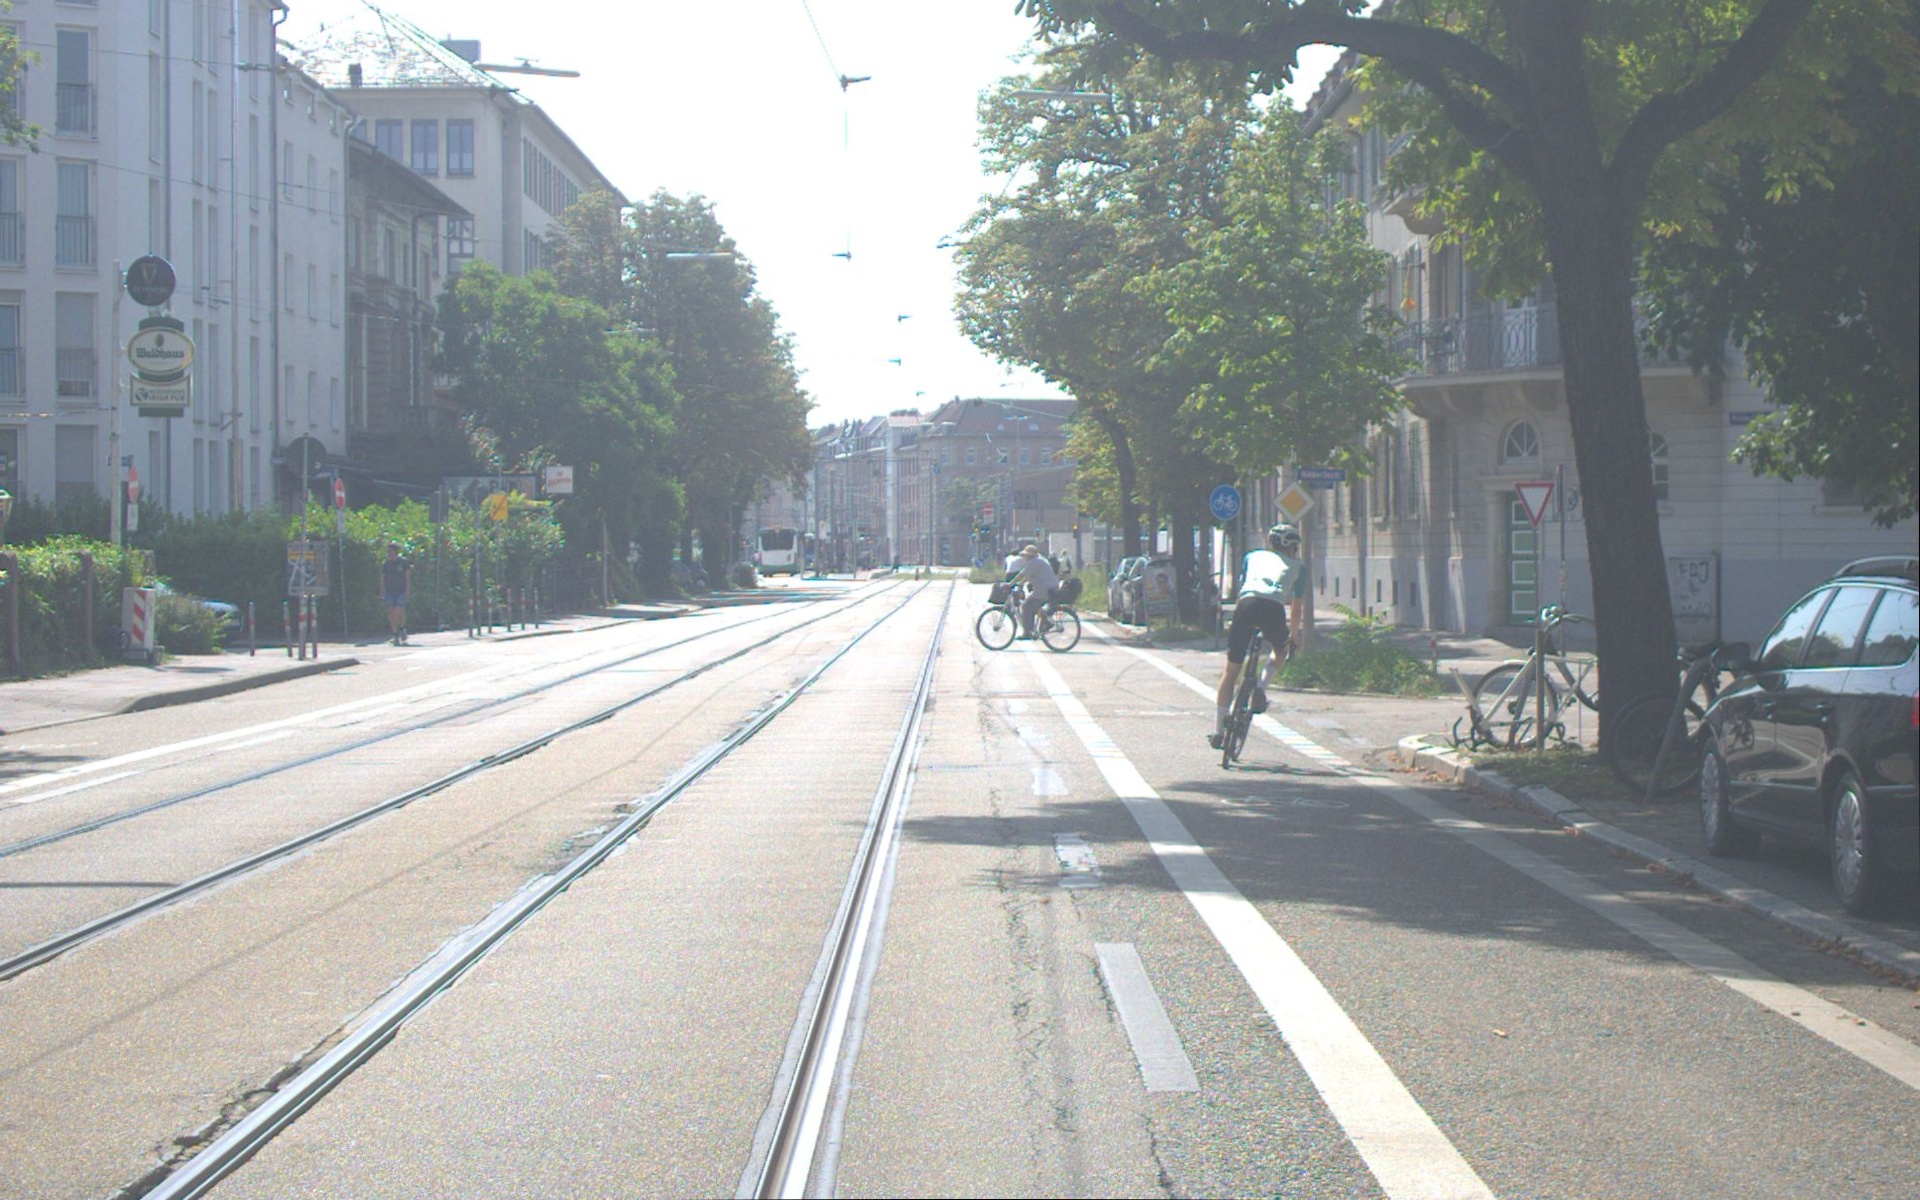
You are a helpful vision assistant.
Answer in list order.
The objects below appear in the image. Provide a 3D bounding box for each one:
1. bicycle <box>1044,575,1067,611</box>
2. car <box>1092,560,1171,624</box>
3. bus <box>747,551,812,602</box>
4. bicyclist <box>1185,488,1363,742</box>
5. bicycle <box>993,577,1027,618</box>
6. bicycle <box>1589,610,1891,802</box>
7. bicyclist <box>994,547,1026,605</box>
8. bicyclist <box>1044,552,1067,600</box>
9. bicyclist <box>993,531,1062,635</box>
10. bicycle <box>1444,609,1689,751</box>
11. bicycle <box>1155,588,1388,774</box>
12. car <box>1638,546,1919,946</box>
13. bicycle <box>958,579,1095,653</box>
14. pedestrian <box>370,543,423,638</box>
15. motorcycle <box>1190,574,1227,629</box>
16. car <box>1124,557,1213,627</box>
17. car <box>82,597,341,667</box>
[{"bbox_3d":[2.523,-0.183,90.661,0.588,0.936,2.171,0,0,2],"label":"bicycle"},{"bbox_3d":[4.053,-0.180,81.564,1.583,1.459,3.467,0,-1,-2],"label":"car"},{"bbox_3d":[-12.198,-1.575,233.342,3.735,3.352,15.119,0,0,0],"label":"bus"},{"bbox_3d":[2.326,0.106,25.398,1.126,1.830,0.955,0,0,17],"label":"bicyclist"},{"bbox_3d":[1.232,-0.072,84.079,0.759,0.987,2.298,0,0,2],"label":"bicycle"},{"bbox_3d":[4.648,0.630,20.541,1.723,1.133,0.377,0,0,7],"label":"bicycle"},{"bbox_3d":[1.231,-0.585,84.111,0.759,1.387,0.779,0,0,2],"label":"bicyclist"},{"bbox_3d":[2.512,-0.628,90.550,0.579,1.274,0.471,0,0,2],"label":"bicyclist"},{"bbox_3d":[1.070,-0.271,54.657,0.825,1.637,0.784,0,0,28],"label":"bicyclist"},{"bbox_3d":[4.479,0.585,25.445,1.713,1.028,0.566,0,0,1],"label":"bicycle"},{"bbox_3d":[2.343,0.564,25.438,1.149,1.265,2.710,0,1,18],"label":"bicycle"},{"bbox_3d":[4.501,0.517,15.585,1.840,1.527,4.780,-2,0,0],"label":"car"},{"bbox_3d":[1.055,0.246,54.668,2.038,1.147,0.784,0,0,28],"label":"bicycle"},{"bbox_3d":[-10.490,-0.173,64.070,0.779,1.750,1.040,-1,0,1],"label":"pedestrian"},{"bbox_3d":[4.867,0.030,67.423,0.549,1.064,2.330,0,0,0],"label":"motorcycle"},{"bbox_3d":[4.461,-0.154,73.853,1.583,1.459,3.415,0,-1,-2],"label":"car"},{"bbox_3d":[-13.780,0.589,63.288,4.234,1.180,1.998,-1,0,20],"label":"car"}]
